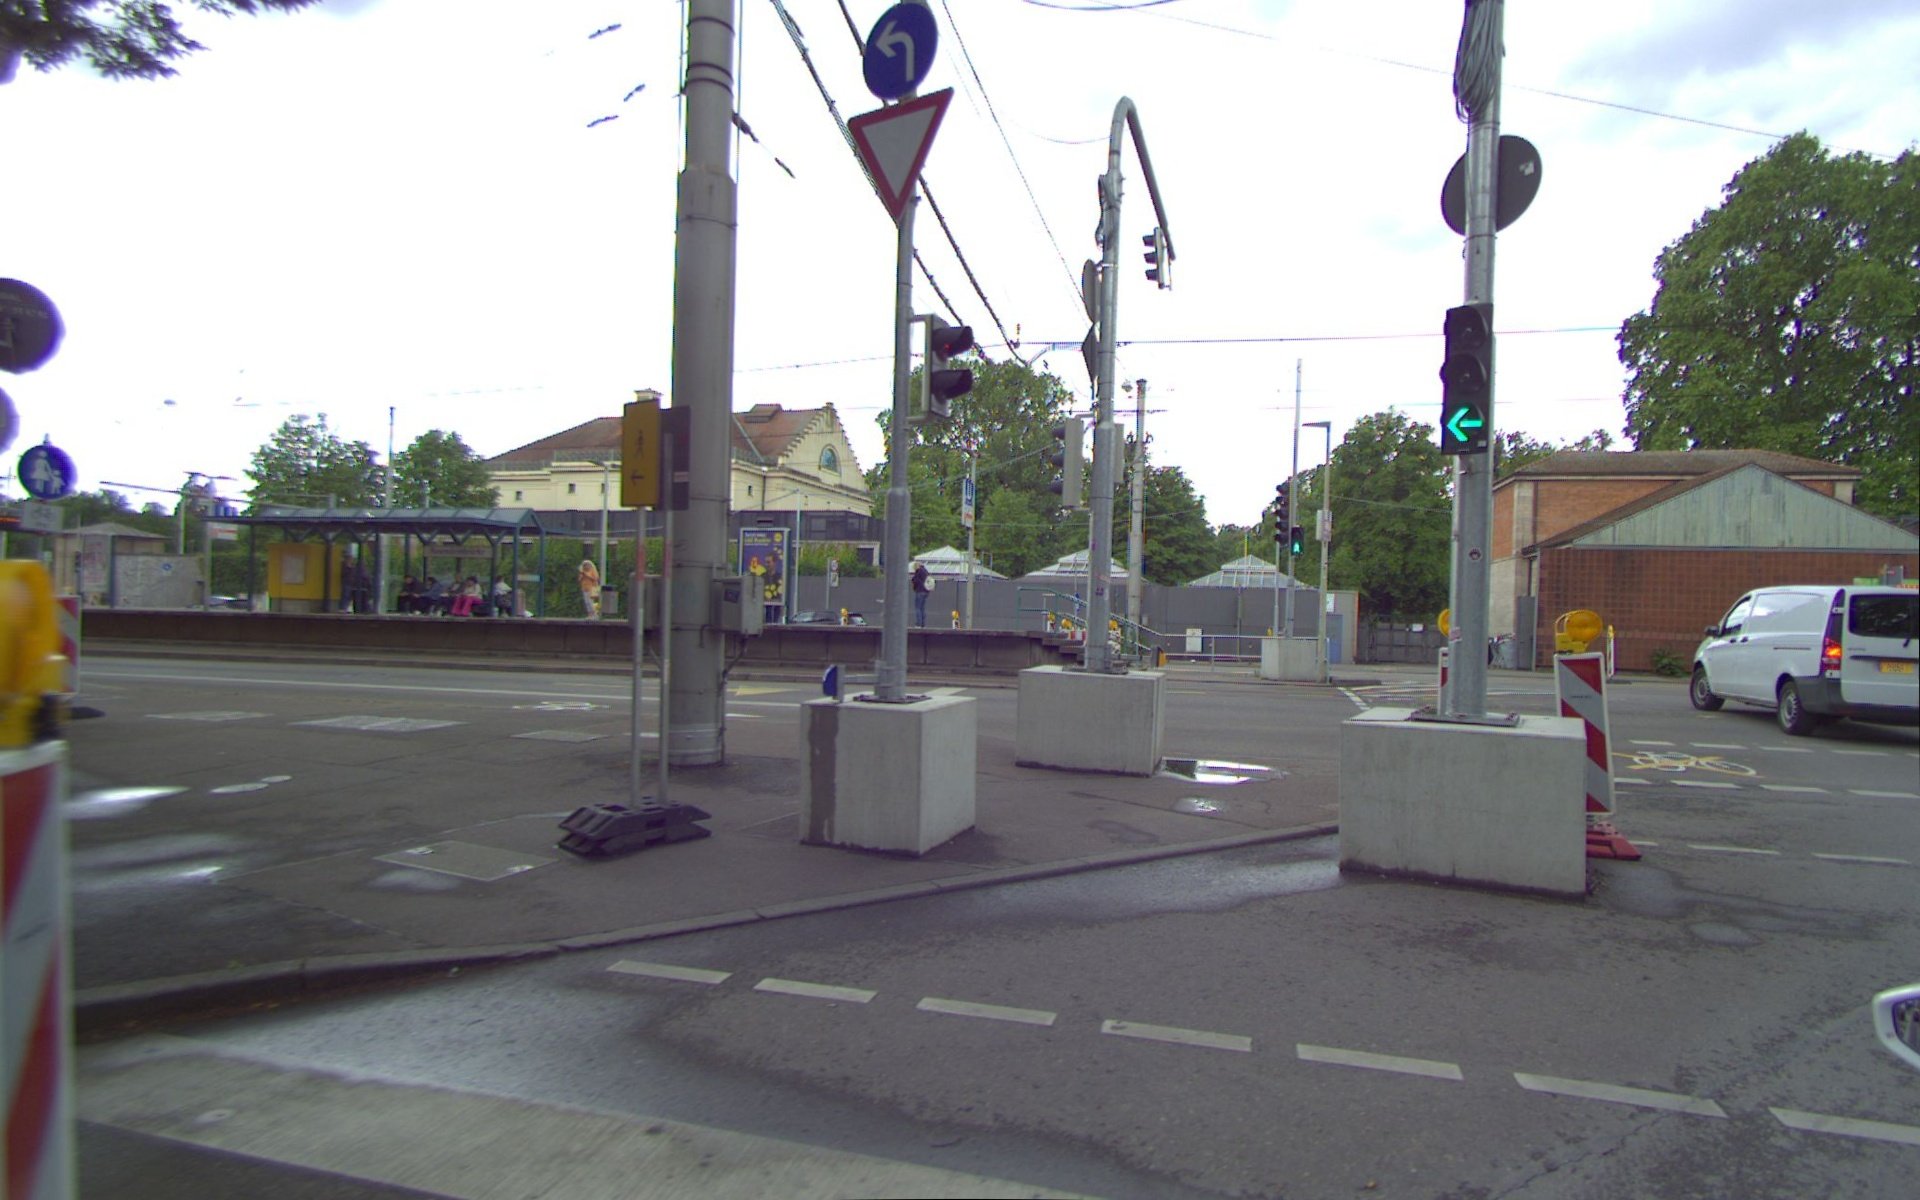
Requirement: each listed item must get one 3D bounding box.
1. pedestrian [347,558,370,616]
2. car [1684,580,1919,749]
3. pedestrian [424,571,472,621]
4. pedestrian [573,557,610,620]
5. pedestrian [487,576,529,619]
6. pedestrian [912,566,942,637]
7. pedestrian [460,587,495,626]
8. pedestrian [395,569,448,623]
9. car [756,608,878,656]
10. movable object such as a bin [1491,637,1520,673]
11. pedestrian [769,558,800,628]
[{"bbox_3d":[-17.557,-0.379,29.326,0.475,1.662,0.592,3,-1,-27],"label":"pedestrian"},{"bbox_3d":[11.849,0.777,13.757,1.886,1.927,4.701,1,0,20],"label":"car"},{"bbox_3d":[-13.793,-0.110,27.063,0.758,1.286,0.810,2,-1,17],"label":"pedestrian"},{"bbox_3d":[-10.061,-0.307,27.443,0.530,1.699,0.779,1,-2,16],"label":"pedestrian"},{"bbox_3d":[-12.654,-0.071,28.127,0.638,1.137,0.822,2,-1,17],"label":"pedestrian"},{"bbox_3d":[-0.766,0.037,23.240,0.515,1.631,0.599,1,-1,16],"label":"pedestrian"},{"bbox_3d":[-12.828,0.177,26.736,0.503,0.992,0.663,1,-2,16],"label":"pedestrian"},{"bbox_3d":[-14.639,-0.108,27.316,0.917,1.390,0.822,2,-1,17],"label":"pedestrian"},{"bbox_3d":[-5.151,1.159,36.320,3.920,1.572,1.758,2,-2,17],"label":"car"},{"bbox_3d":[20.858,2.088,38.426,0.834,1.358,0.801,1,-2,19],"label":"movable object such as a bin"},{"bbox_3d":[-4.385,-0.177,25.120,0.586,1.722,0.459,1,-1,16],"label":"pedestrian"}]
